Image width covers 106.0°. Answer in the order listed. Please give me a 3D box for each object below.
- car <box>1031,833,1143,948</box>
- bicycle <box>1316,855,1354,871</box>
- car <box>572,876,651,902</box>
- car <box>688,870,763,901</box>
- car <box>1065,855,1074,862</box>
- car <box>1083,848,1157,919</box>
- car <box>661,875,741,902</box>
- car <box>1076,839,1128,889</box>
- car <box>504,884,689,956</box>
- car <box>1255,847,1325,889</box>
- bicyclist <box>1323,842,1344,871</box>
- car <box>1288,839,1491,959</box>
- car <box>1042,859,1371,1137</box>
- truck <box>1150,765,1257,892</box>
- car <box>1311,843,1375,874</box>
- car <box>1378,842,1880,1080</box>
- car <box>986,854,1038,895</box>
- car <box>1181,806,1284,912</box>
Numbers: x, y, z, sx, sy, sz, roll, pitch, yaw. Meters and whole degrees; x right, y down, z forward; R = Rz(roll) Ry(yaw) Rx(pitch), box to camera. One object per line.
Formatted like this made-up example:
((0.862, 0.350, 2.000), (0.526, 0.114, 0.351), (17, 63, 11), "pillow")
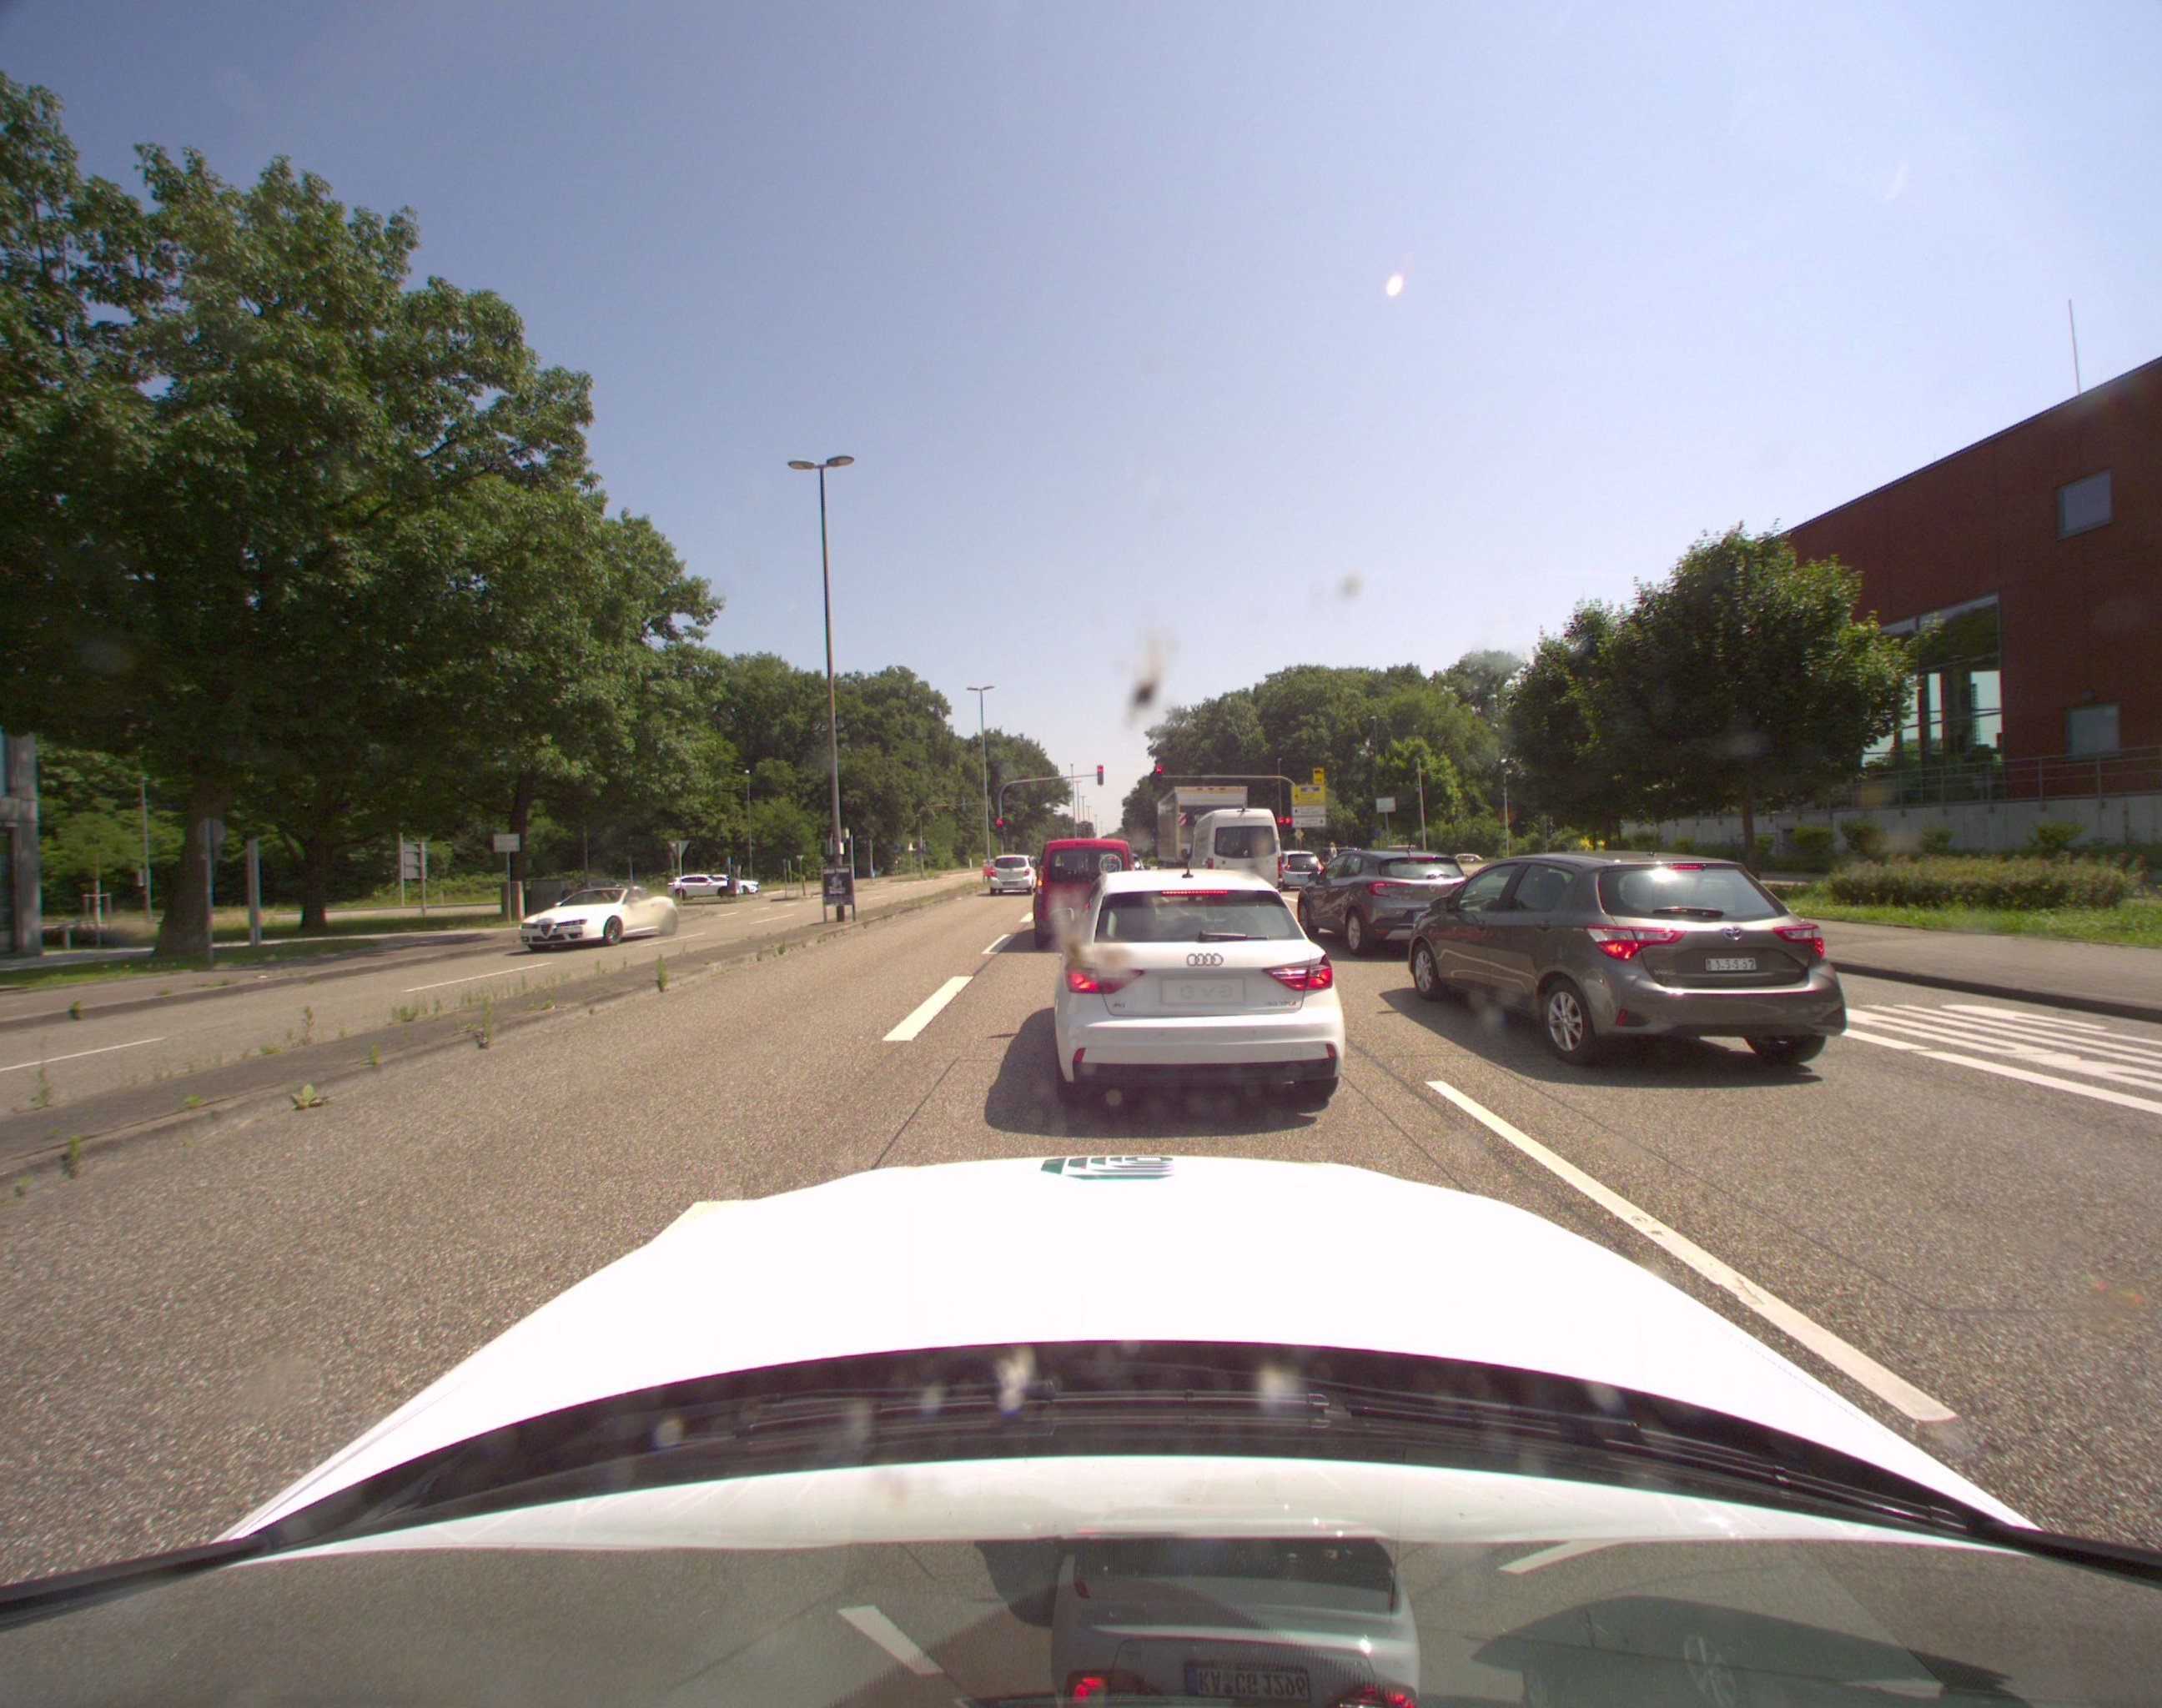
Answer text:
((0.105, 0.560, 14.703), (1.706, 1.748, 4.091), (-1, 0, 0), "car")
((13.111, 0.478, 42.090), (0.604, 0.766, 1.804), (-2, 0, -44), "bicycle")
((-32.563, 2.416, 56.599), (4.370, 1.681, 1.804), (0, -1, -10), "car")
((-24.939, 2.171, 57.235), (4.367, 1.681, 1.806), (-6, 0, -7), "car")
((-2.896, 1.117, 202.722), (1.987, 1.772, 4.205), (-2, 0, 1), "car")
((0.917, 0.702, 21.236), (1.706, 1.631, 4.091), (-1, 0, 0), "car")
((-24.852, 2.264, 53.411), (4.366, 1.681, 1.806), (0, -1, -7), "car")
((0.703, 0.344, 29.056), (1.706, 1.631, 4.091), (-1, 0, 0), "car")
((-11.377, 1.489, 19.517), (1.712, 1.262, 4.302), (-4, 0, 1), "car")
((8.277, 0.533, 32.572), (1.706, 1.546, 4.091), (-1, 0, 0), "car")
((13.053, 0.128, 42.138), (0.603, 1.439, 0.819), (-2, 0, -44), "bicyclist")
((4.739, 0.613, 13.176), (1.706, 1.593, 4.091), (-1, 0, 0), "car")
((0.666, 0.767, 6.321), (1.706, 1.386, 4.091), (-1, 0, 0), "car")
((4.784, -0.907, 34.413), (3.077, 4.434, 11.584), (-1, 0, 2), "truck")
((18.812, 0.299, 58.599), (3.972, 2.013, 2.001), (-2, 0, 2), "car")
((4.246, 0.682, 7.235), (1.706, 1.478, 4.091), (1, 0, 0), "car")
((-2.672, 0.772, 32.319), (1.706, 1.493, 4.091), (-1, 0, 0), "car")
((4.140, 0.116, 23.051), (2.024, 2.644, 4.845), (-1, 0, 1), "car")
